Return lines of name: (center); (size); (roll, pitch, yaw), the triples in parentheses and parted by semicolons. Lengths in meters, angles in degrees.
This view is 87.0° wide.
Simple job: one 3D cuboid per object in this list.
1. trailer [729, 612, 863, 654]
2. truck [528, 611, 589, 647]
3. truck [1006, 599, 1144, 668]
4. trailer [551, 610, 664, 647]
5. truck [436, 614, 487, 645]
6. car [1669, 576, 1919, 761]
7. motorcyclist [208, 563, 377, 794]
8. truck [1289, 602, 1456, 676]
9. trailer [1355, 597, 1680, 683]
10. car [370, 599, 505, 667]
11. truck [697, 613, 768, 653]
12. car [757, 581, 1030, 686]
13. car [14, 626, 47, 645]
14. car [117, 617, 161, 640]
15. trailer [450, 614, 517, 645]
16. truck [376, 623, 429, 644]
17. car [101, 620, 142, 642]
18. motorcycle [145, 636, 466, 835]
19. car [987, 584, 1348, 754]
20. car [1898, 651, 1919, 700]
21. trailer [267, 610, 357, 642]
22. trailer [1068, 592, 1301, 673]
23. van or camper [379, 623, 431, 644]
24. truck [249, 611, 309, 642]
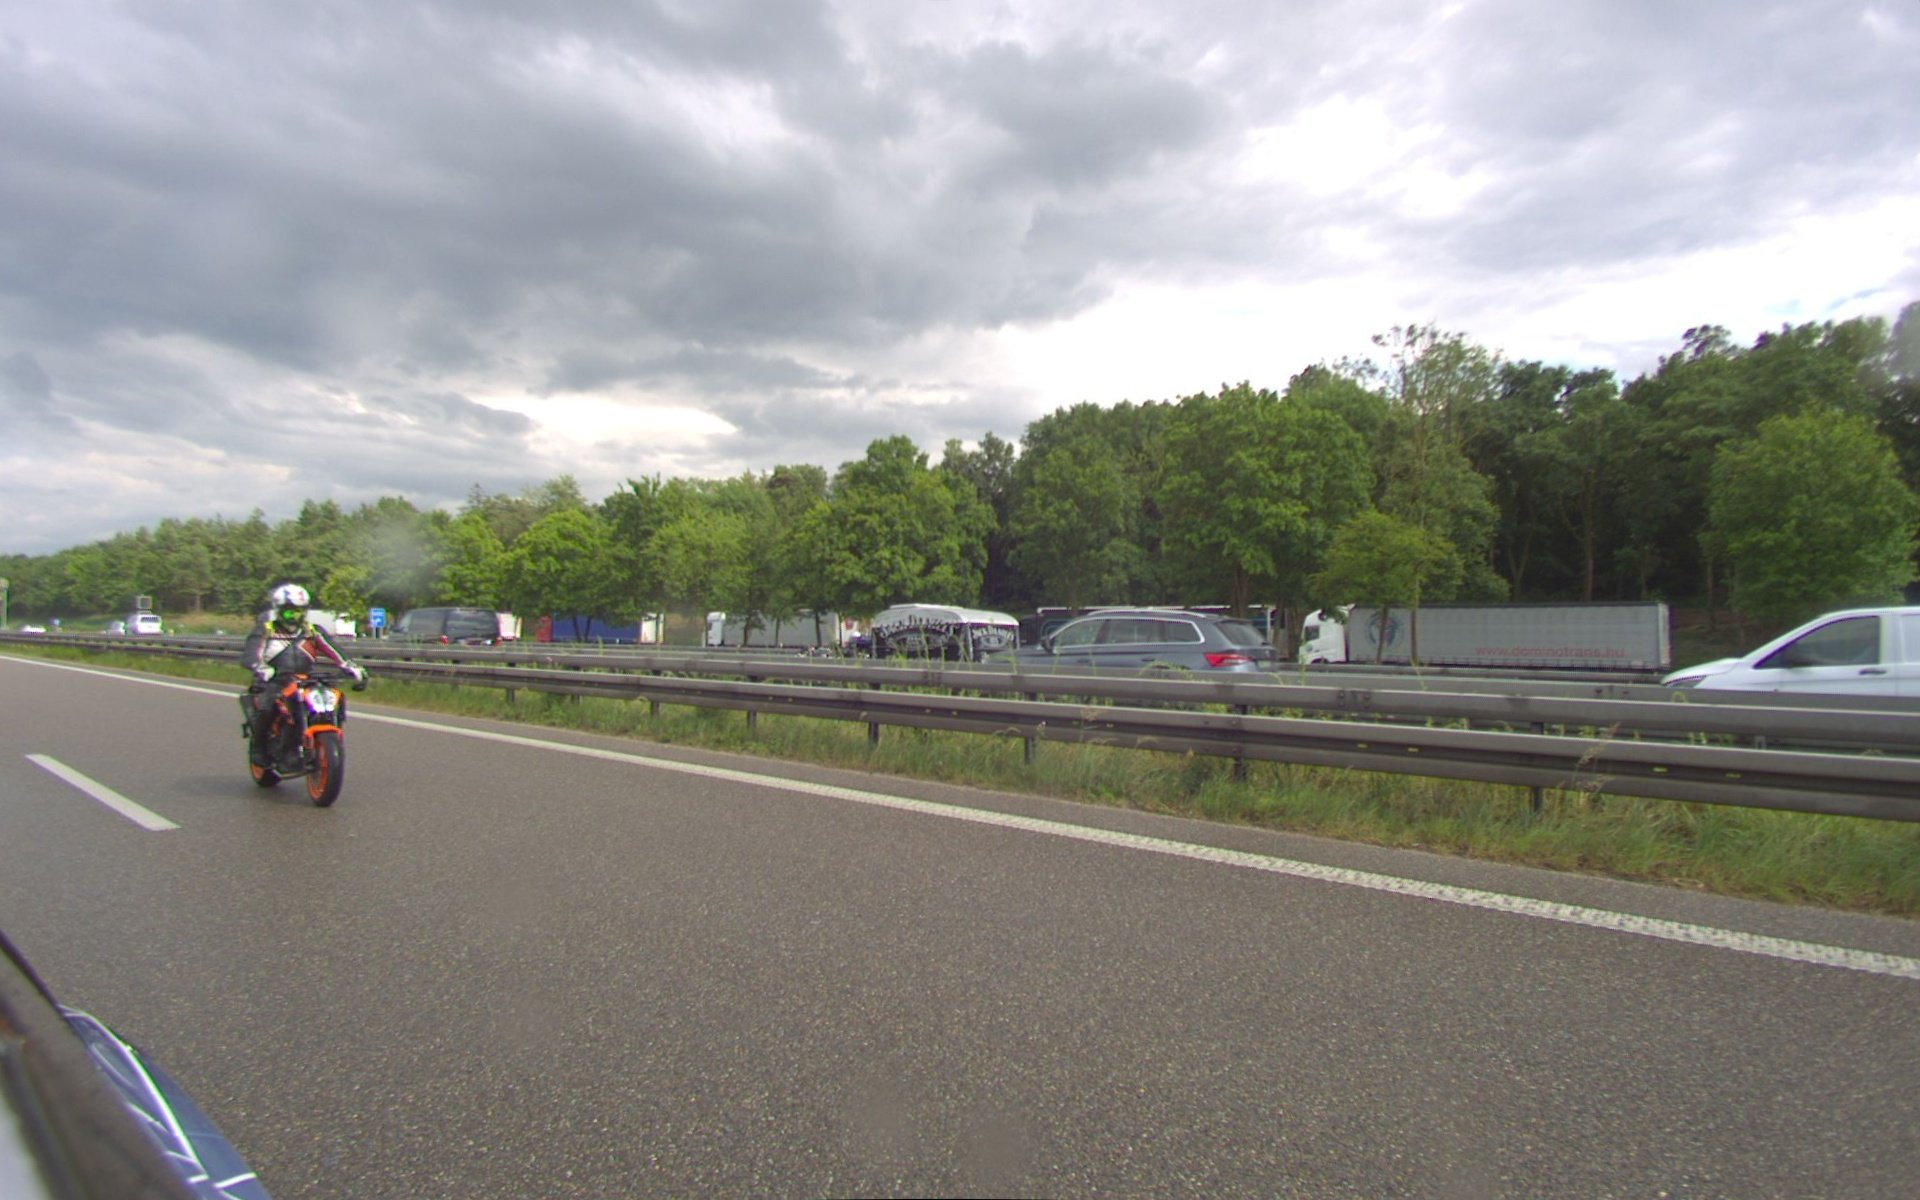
trailer: (-13.606, 2.708, 83.029); (12.458, 3.241, 3.315); (-1, -2, 38)
truck: (-40.271, 2.851, 101.463); (5.880, 3.482, 2.837); (-1, 0, 33)
truck: (7.511, 2.094, 66.756); (8.413, 4.266, 3.748); (-1, 0, 41)
trailer: (-34.019, 2.731, 97.275); (13.388, 3.431, 2.800); (-1, -2, 34)
truck: (-54.074, 3.184, 109.722); (5.066, 3.292, 2.636); (-1, 0, 30)
car: (11.371, 0.756, 12.023); (4.648, 2.061, 2.152); (-1, 0, 40)
motorcyclist: (-5.400, 0.586, 8.194); (0.999, 1.719, 0.872); (-1, 0, 38)
truck: (21.711, 1.930, 53.460); (7.351, 3.616, 3.748); (-1, 0, 41)
trailer: (26.559, 1.851, 49.134); (13.340, 3.677, 3.749); (-1, -2, 42)
car: (-16.143, 0.960, 31.153); (5.055, 1.905, 1.933); (-1, 0, 40)
truck: (-19.764, 2.778, 87.896); (5.498, 3.298, 3.322); (-1, 0, 37)
car: (-1.675, 0.684, 22.818); (6.495, 2.061, 2.152); (-1, 0, 40)
car: (-100.828, 3.868, 109.787); (5.256, 1.905, 2.026); (-1, 0, 40)
car: (-71.776, 2.491, 88.463); (5.256, 1.905, 2.026); (-1, 0, 40)
trailer: (-50.771, 3.132, 107.850); (7.712, 3.257, 2.560); (-1, -2, 31)
truck: (-63.576, 3.805, 115.374); (6.288, 2.282, 2.105); (-1, -1, 28)
car: (-76.379, 2.823, 92.177); (5.256, 1.905, 2.026); (-1, 0, 40)
motorcycle: (-5.350, 0.950, 8.150); (3.189, 1.235, 1.174); (-1, 0, 37)
car: (2.863, 0.849, 14.580); (4.648, 2.061, 2.152); (-1, 0, 40)
car: (37.708, 2.860, 37.459); (4.368, 1.731, 2.036); (-1, 0, 43)
trailer: (-78.561, 3.198, 122.581); (12.504, 3.767, 3.185); (-1, -2, 27)
trailer: (13.303, 1.950, 61.698); (13.796, 4.439, 3.749); (-1, -2, 42)
van or camper: (-63.340, 3.804, 115.474); (6.292, 2.282, 2.105); (-1, -1, 28)
truck: (-84.433, 3.250, 125.495); (6.880, 3.733, 3.189); (-1, 0, 26)
